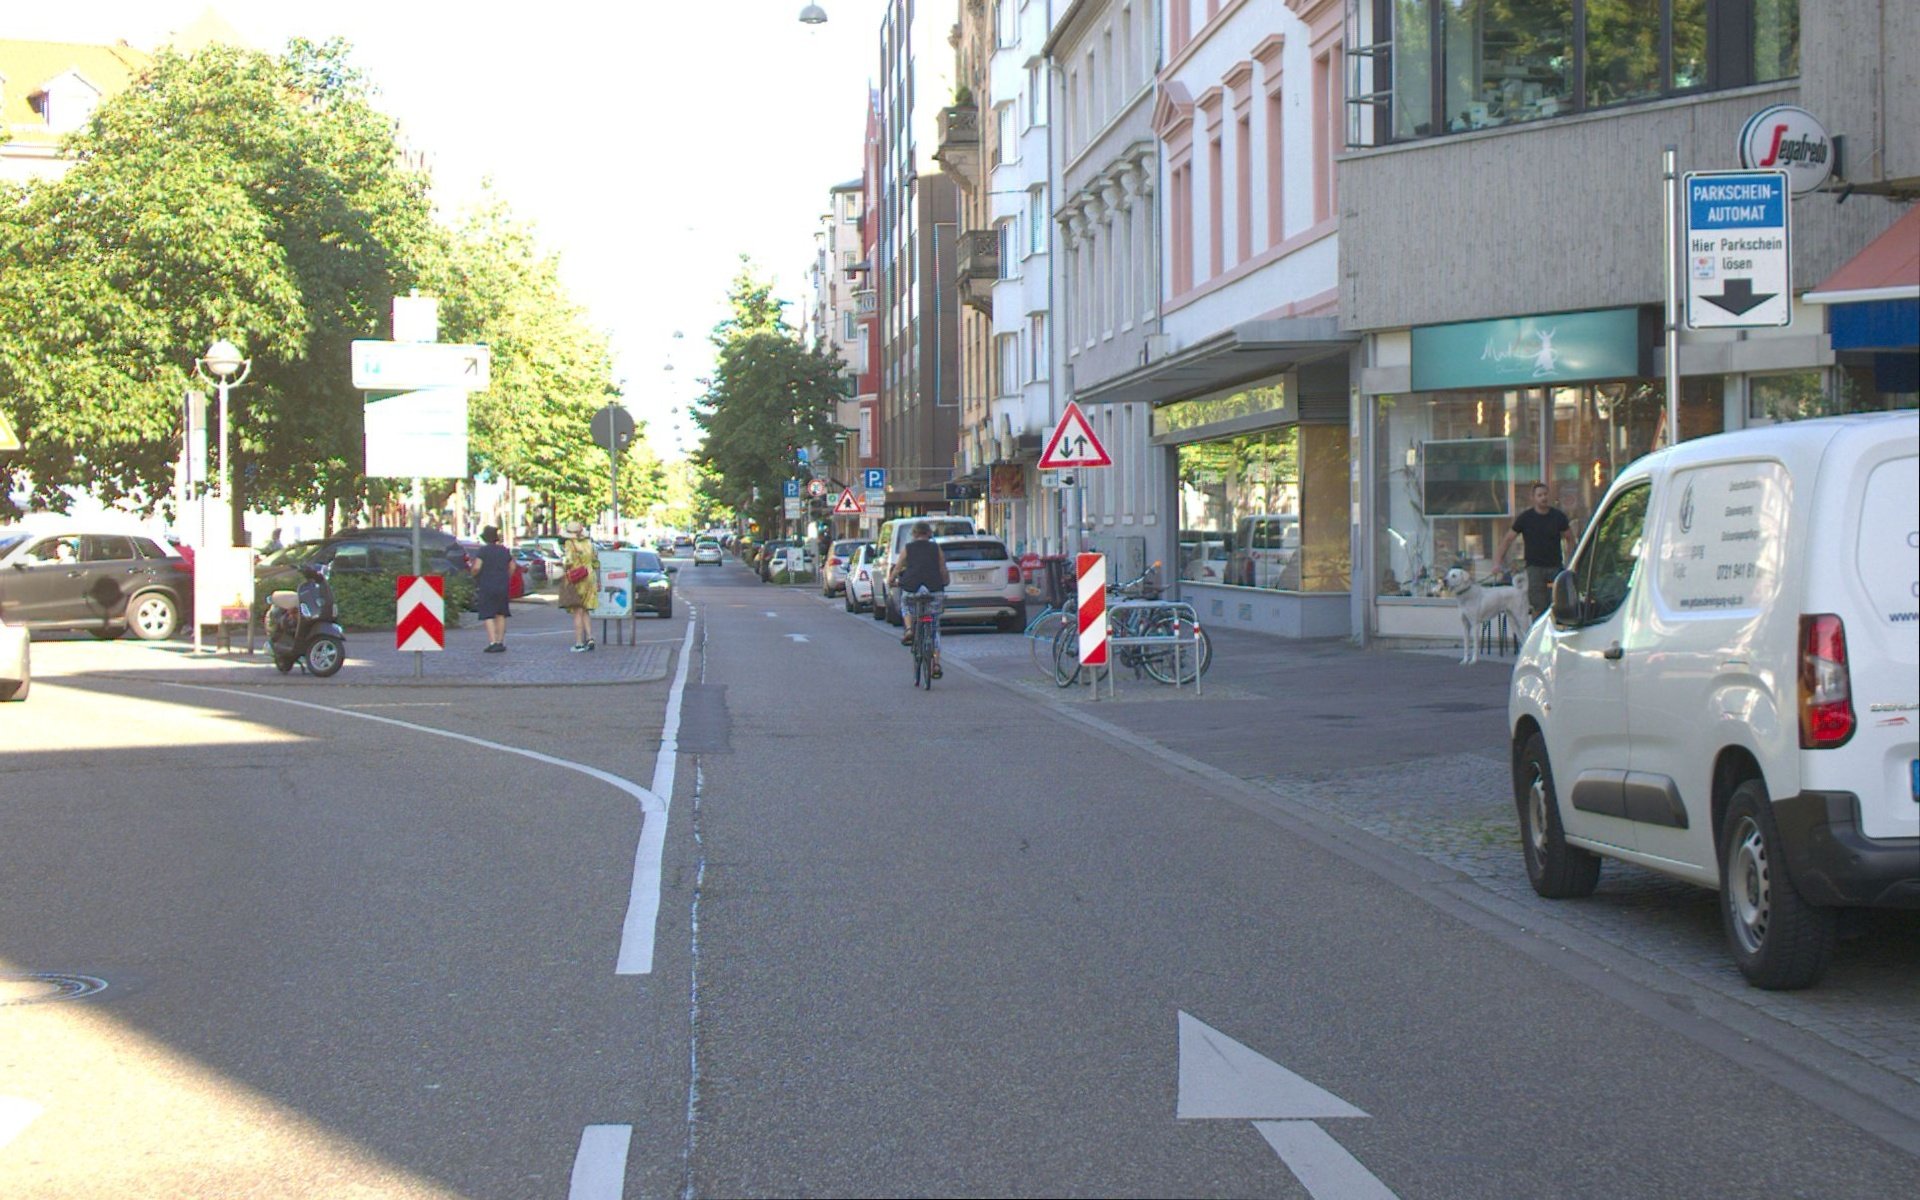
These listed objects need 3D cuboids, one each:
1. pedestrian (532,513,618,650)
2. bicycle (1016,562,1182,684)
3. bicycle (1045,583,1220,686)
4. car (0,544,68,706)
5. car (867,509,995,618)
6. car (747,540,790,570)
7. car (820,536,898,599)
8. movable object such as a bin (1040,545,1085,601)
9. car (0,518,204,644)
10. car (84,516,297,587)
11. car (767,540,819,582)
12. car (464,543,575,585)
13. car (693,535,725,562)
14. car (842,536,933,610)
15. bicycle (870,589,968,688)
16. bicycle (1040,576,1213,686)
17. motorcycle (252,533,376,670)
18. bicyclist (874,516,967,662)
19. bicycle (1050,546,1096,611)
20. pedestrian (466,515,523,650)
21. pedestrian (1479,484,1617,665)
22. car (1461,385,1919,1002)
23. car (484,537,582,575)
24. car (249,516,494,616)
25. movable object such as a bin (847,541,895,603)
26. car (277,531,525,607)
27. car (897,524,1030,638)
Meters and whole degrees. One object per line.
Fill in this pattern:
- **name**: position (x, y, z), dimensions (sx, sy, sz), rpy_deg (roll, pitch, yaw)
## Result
- **pedestrian**: position (-4.829, -0.234, 43.120), dimensions (0.804, 1.693, 0.668), rpy_deg (1, 0, 37)
- **bicycle**: position (1.465, 0.239, 36.200), dimensions (1.622, 1.239, 0.658), rpy_deg (1, 0, 16)
- **bicycle**: position (1.745, 0.342, 34.790), dimensions (1.704, 1.001, 0.427), rpy_deg (1, 0, 12)
- **car**: position (-9.686, 0.196, 31.700), dimensions (1.993, 1.418, 4.197), rpy_deg (1, 0, -26)
- **car**: position (-0.599, -0.717, 65.885), dimensions (1.993, 1.998, 5.118), rpy_deg (0, 1, -6)
- **car**: position (-9.479, -2.219, 169.859), dimensions (1.993, 1.448, 4.001), rpy_deg (0, 1, -5)
- **car**: position (-2.868, -0.890, 96.550), dimensions (1.898, 1.669, 4.825), rpy_deg (1, 0, -5)
- **movable object such as a bin**: position (2.041, -0.531, 68.359), dimensions (0.794, 1.072, 0.660), rpy_deg (-3, 0, -2)
- **car**: position (-12.486, -0.263, 46.808), dimensions (3.859, 1.676, 1.812), rpy_deg (-1, 0, -36)
- **car**: position (-21.055, -1.320, 94.119), dimensions (5.263, 1.794, 2.163), rpy_deg (1, 0, -31)
- **car**: position (-6.686, -1.554, 137.773), dimensions (1.993, 1.612, 4.010), rpy_deg (1, 0, -2)
- **car**: position (-16.609, -1.359, 129.694), dimensions (3.986, 1.503, 2.000), rpy_deg (1, 0, -3)
- **car**: position (-15.050, -3.074, 206.467), dimensions (1.870, 1.550, 4.000), rpy_deg (1, 0, -4)
- **car**: position (-1.616, -0.570, 75.387), dimensions (1.718, 1.510, 3.583), rpy_deg (-2, 0, -5)
- **bicycle**: position (-0.396, 0.381, 34.903), dimensions (0.652, 0.955, 2.697), rpy_deg (1, 0, 7)
- **bicycle**: position (1.666, 0.305, 34.415), dimensions (1.680, 1.058, 0.343), rpy_deg (1, 0, 12)
- **motorcycle**: position (-6.679, 0.010, 35.490), dimensions (0.745, 1.369, 1.761), rpy_deg (1, 0, -28)
- **bicyclist**: position (-0.396, -0.108, 34.903), dimensions (0.786, 1.448, 1.095), rpy_deg (1, 0, 7)
- **bicycle**: position (2.144, -0.404, 65.030), dimensions (0.483, 1.182, 1.718), rpy_deg (-2, -1, 14)
- **pedestrian**: position (-5.806, -0.214, 42.886), dimensions (0.636, 1.666, 0.693), rpy_deg (1, 0, -4)
- **pedestrian**: position (5.802, -0.247, 33.957), dimensions (1.132, 1.737, 1.022), rpy_deg (1, 0, -2)
- **car**: position (3.282, 0.292, 12.314), dimensions (1.993, 1.806, 4.310), rpy_deg (1, 0, -5)
- **car**: position (-18.040, -1.847, 145.444), dimensions (3.986, 1.503, 1.895), rpy_deg (1, 0, -3)
- **car**: position (-10.508, -0.607, 61.356), dimensions (3.986, 1.662, 2.001), rpy_deg (1, 1, -20)
- **movable object such as a bin**: position (-2.217, -0.708, 86.091), dimensions (1.073, 1.452, 1.492), rpy_deg (-3, 2, 1)
- **car**: position (-11.822, -0.645, 72.773), dimensions (4.834, 1.483, 1.765), rpy_deg (1, 0, -28)
- **car**: position (0.006, -0.294, 55.970), dimensions (1.745, 1.733, 4.961), rpy_deg (1, 0, -5)
